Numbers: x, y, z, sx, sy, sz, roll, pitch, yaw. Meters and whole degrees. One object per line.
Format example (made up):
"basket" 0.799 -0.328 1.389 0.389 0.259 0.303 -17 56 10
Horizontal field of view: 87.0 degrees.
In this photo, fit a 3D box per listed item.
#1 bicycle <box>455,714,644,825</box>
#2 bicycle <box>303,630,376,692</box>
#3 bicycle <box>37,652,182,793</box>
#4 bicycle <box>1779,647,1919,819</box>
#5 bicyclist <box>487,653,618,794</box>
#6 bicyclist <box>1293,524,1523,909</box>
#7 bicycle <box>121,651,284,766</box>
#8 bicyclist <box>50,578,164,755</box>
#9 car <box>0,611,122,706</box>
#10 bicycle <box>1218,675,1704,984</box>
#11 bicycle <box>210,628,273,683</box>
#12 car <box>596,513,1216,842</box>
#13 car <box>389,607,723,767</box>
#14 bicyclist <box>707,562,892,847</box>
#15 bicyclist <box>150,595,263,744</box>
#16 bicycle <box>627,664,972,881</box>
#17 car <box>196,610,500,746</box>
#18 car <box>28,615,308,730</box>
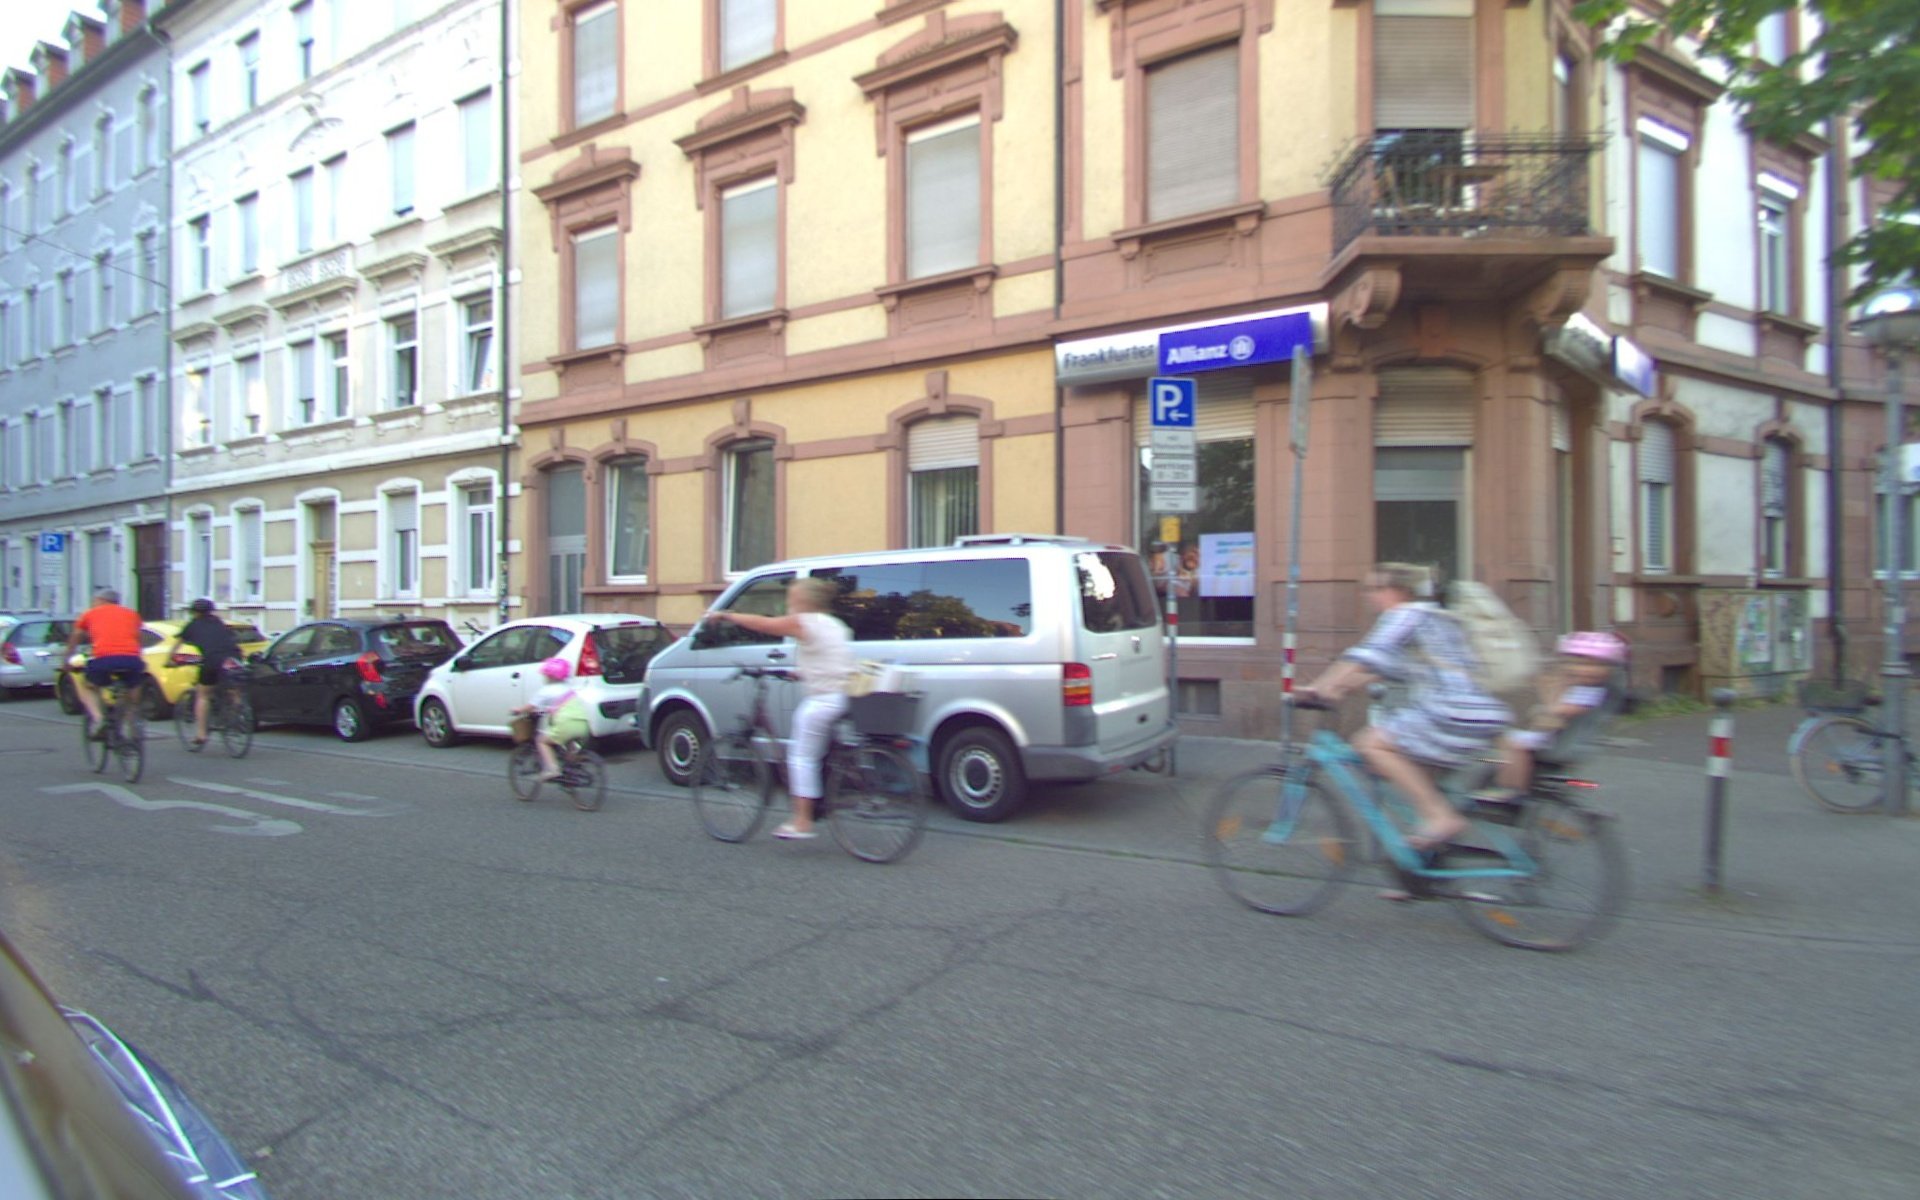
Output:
"bicycle" -3.167 1.265 7.775 1.459 0.647 0.644 -1 -1 33
"bicycle" -12.095 1.176 19.718 1.858 1.149 0.476 -2 -1 33
"bicycle" -7.884 1.069 9.349 2.012 1.115 0.643 -1 -1 39
"bicycle" 6.677 0.880 6.753 1.784 1.091 0.557 -1 0 19
"bicyclist" -3.116 0.912 7.753 0.728 0.984 0.641 -1 -1 33
"bicyclist" 2.007 0.479 4.594 0.870 1.556 0.673 -1 -1 24
"bicycle" -8.288 1.136 11.048 2.007 1.115 0.715 -1 -1 31
"bicyclist" -7.879 0.588 9.348 0.866 1.537 0.646 -1 -1 38
"car" -18.110 1.070 19.572 4.133 1.604 1.785 -1 1 34
"bicycle" 2.129 0.920 4.529 1.797 1.103 0.680 -1 -1 24
"bicycle" -15.578 1.190 21.936 1.858 1.149 0.476 -2 -1 33
"car" -0.607 0.503 8.580 4.989 2.072 2.025 -1 1 33
"car" -4.606 0.875 11.439 3.601 1.502 1.672 -1 1 31
"bicyclist" -0.968 0.594 6.187 0.870 1.595 0.721 -1 -1 24
"bicyclist" -8.173 0.722 10.989 0.864 1.537 0.708 -1 -1 30
"bicycle" -0.998 0.972 6.195 2.035 1.103 0.723 -1 -1 24
"car" -7.986 0.927 13.167 3.725 1.502 1.718 -1 1 28
"car" -12.678 1.072 16.130 4.782 1.537 1.826 -1 1 30
